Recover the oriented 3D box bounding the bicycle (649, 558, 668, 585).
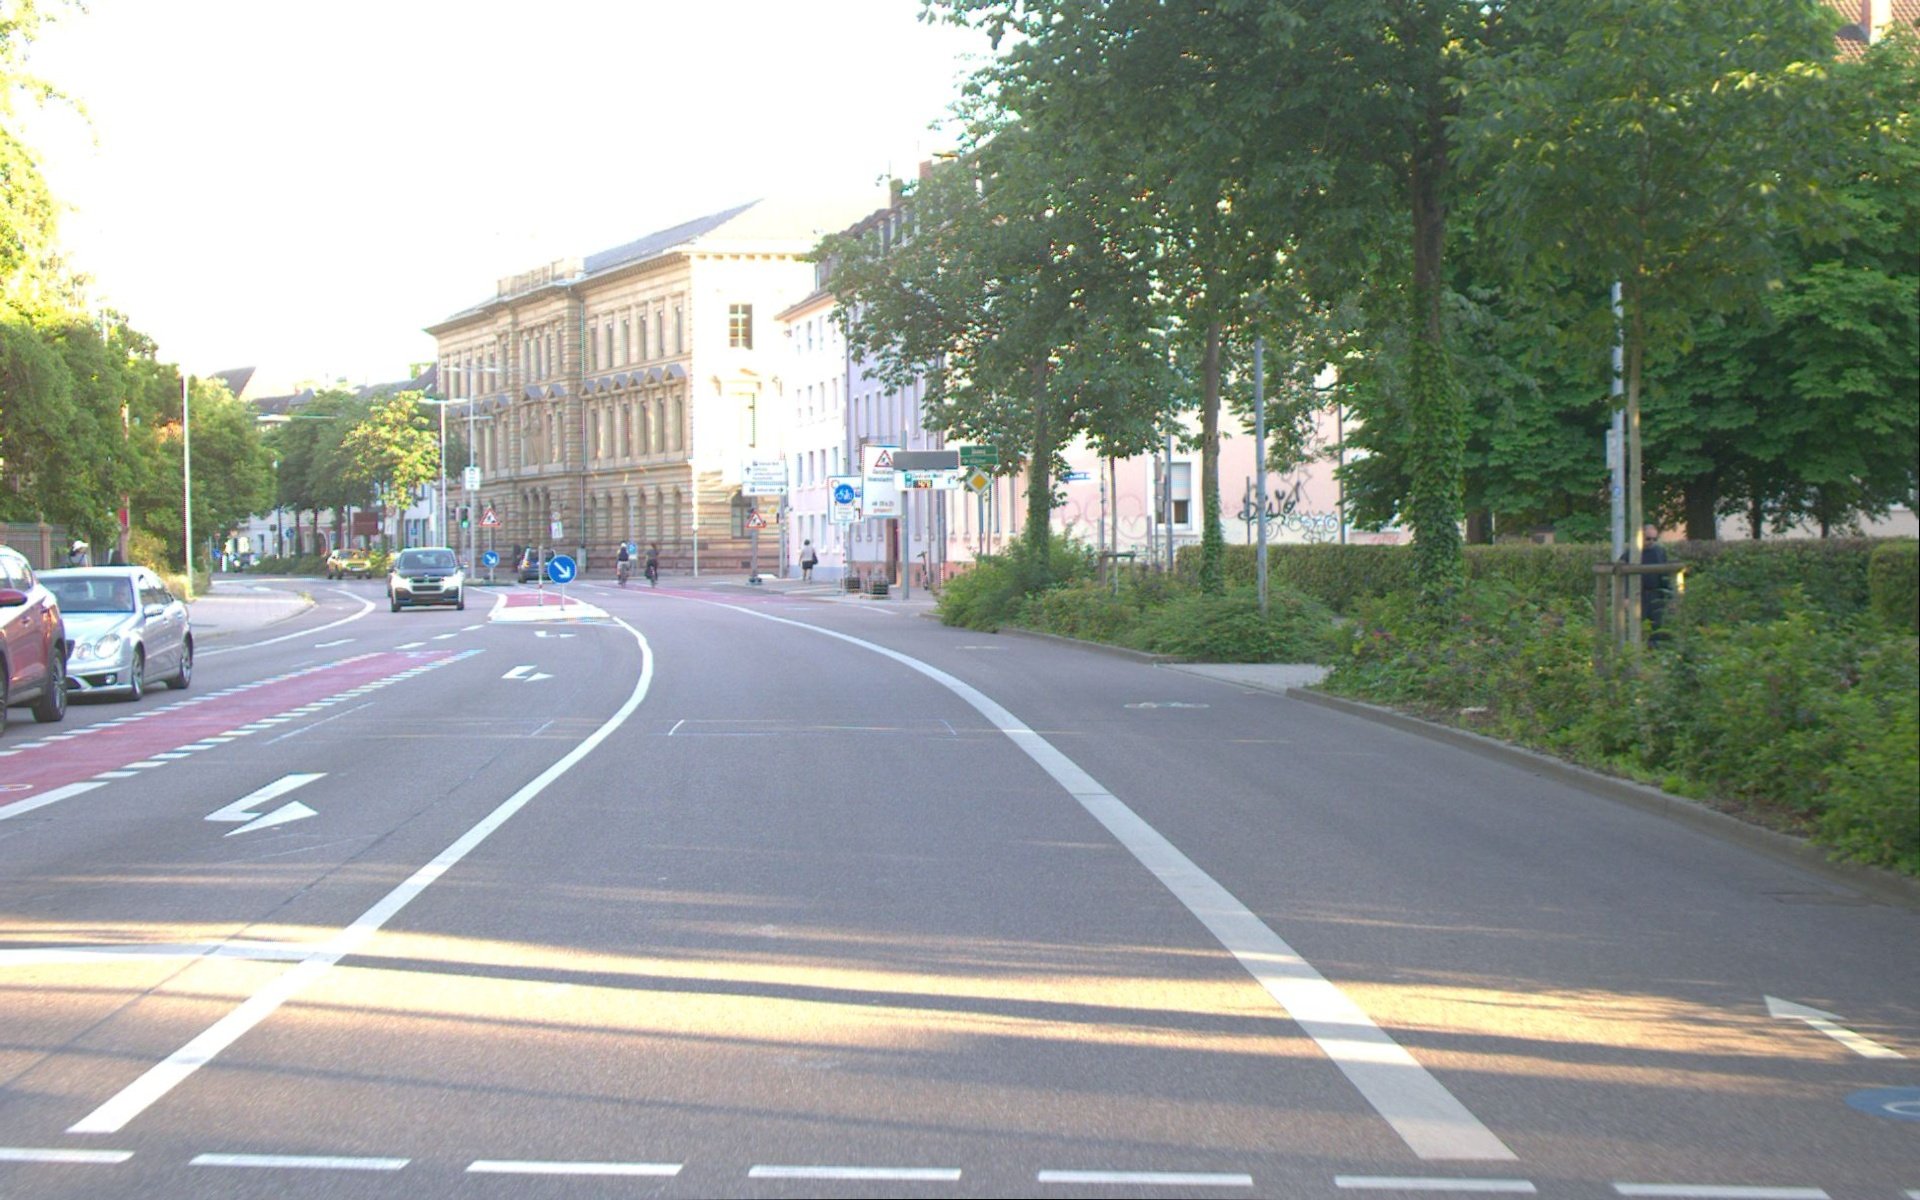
[{"bbox_3d":[-11.631,-1.106,132.691,0.652,1.012,2.198,2,1,-4],"label":"bicycle"}]

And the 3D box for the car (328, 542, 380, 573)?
[{"bbox_3d":[-31.131,-2.166,176.505,1.993,1.579,4.001,0,1,-20],"label":"car"}]

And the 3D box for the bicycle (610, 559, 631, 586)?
[{"bbox_3d":[-13.105,-1.070,132.713,0.652,1.012,2.198,2,1,-3],"label":"bicycle"}]

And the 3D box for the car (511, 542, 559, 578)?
[{"bbox_3d":[-17.973,-1.682,145.490,1.867,1.505,4.001,0,1,-5],"label":"car"}]

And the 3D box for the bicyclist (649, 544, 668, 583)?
[{"bbox_3d":[-11.623,-1.420,132.690,0.652,1.470,0.941,2,1,-4],"label":"bicyclist"}]

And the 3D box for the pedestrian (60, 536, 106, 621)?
[{"bbox_3d":[-16.814,-0.417,65.904,0.681,1.617,0.688,0,1,1],"label":"pedestrian"}]

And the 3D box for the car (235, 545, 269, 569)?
[{"bbox_3d":[-47.790,-2.902,232.159,1.993,1.579,4.001,0,1,-8],"label":"car"}]

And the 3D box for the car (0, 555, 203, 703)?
[{"bbox_3d":[-9.526,0.273,36.963,1.916,1.413,4.771,-2,1,-3],"label":"car"}]

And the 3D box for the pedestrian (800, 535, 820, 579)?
[{"bbox_3d":[-5.976,-1.697,136.883,0.762,1.749,0.845,0,1,-2],"label":"pedestrian"}]

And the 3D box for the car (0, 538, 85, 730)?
[{"bbox_3d":[-9.143,0.299,30.159,1.916,1.619,4.640,-2,1,-3],"label":"car"}]

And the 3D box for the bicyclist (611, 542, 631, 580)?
[{"bbox_3d":[-13.083,-1.513,132.676,0.652,1.441,0.879,2,1,-3],"label":"bicyclist"}]

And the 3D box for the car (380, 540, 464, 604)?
[{"bbox_3d":[-13.534,-0.715,86.402,1.848,1.521,4.001,-2,1,-11],"label":"car"}]

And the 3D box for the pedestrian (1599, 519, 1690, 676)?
[{"bbox_3d":[7.700,-0.035,38.667,0.769,1.733,0.807,-1,1,-8],"label":"pedestrian"}]

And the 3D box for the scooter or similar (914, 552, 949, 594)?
[{"bbox_3d":[-0.935,-0.871,110.255,0.629,1.332,2.401,0,1,-13],"label":"scooter or similar"}]

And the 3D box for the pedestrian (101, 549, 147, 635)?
[{"bbox_3d":[-15.960,-0.153,65.650,0.681,1.617,0.688,0,1,2],"label":"pedestrian"}]
